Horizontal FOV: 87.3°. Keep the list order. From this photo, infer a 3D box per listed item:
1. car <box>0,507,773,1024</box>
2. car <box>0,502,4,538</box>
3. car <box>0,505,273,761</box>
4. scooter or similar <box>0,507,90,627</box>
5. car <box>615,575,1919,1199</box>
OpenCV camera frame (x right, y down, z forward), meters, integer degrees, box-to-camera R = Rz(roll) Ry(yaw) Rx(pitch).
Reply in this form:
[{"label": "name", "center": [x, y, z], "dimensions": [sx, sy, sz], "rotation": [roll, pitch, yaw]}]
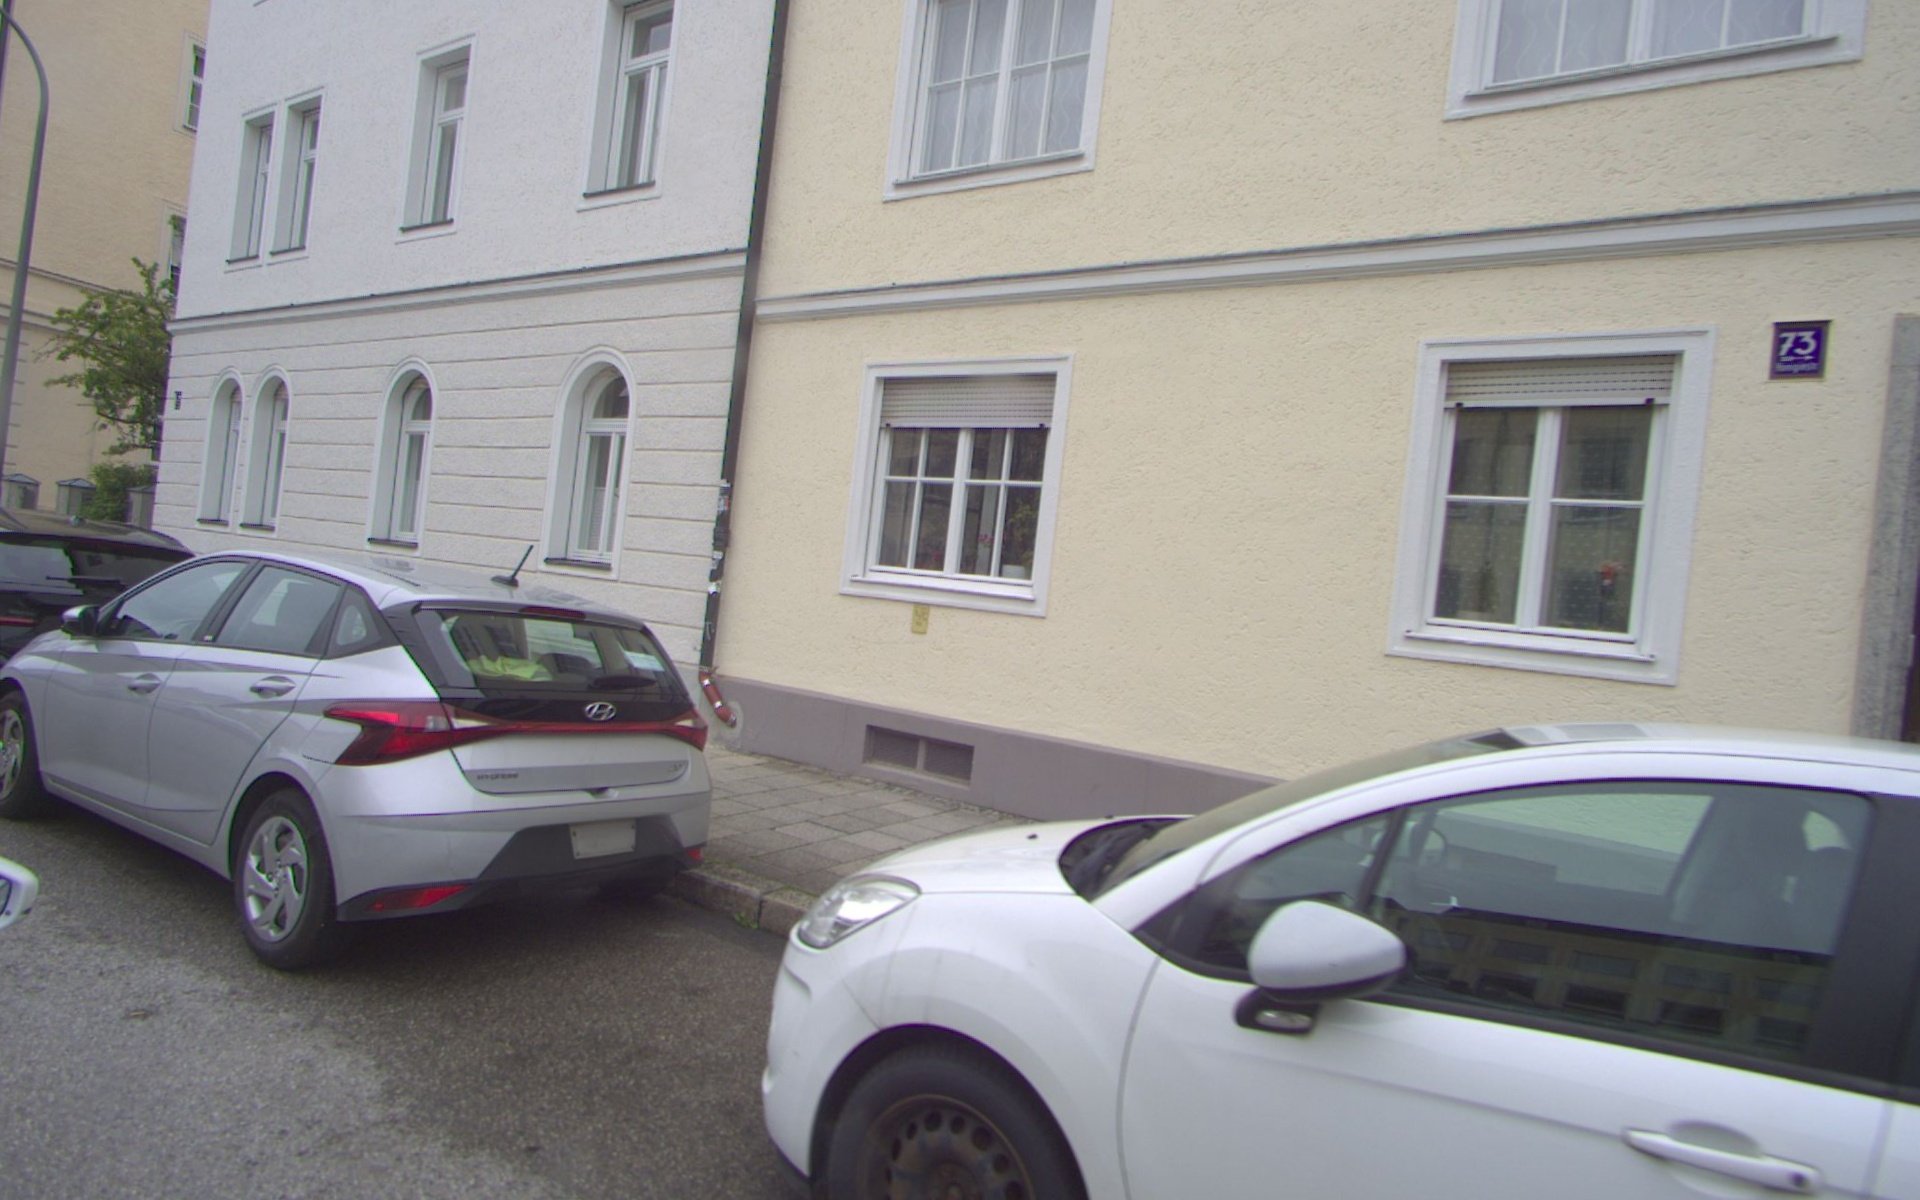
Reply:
[{"label": "car", "center": [-3.102, 0.472, 4.885], "dimensions": [4.097, 1.444, 1.682], "rotation": [6, -1, 30]}, {"label": "car", "center": [-11.377, -0.472, 9.971], "dimensions": [4.019, 1.444, 1.682], "rotation": [6, -1, 31]}, {"label": "car", "center": [-7.011, 0.030, 7.194], "dimensions": [4.317, 1.444, 1.682], "rotation": [6, -1, 30]}, {"label": "scooter or similar", "center": [-10.032, -0.369, 10.874], "dimensions": [1.152, 1.178, 0.485], "rotation": [6, -1, 29]}, {"label": "car", "center": [1.374, 0.944, 2.256], "dimensions": [4.097, 1.499, 1.682], "rotation": [6, -1, 30]}]
